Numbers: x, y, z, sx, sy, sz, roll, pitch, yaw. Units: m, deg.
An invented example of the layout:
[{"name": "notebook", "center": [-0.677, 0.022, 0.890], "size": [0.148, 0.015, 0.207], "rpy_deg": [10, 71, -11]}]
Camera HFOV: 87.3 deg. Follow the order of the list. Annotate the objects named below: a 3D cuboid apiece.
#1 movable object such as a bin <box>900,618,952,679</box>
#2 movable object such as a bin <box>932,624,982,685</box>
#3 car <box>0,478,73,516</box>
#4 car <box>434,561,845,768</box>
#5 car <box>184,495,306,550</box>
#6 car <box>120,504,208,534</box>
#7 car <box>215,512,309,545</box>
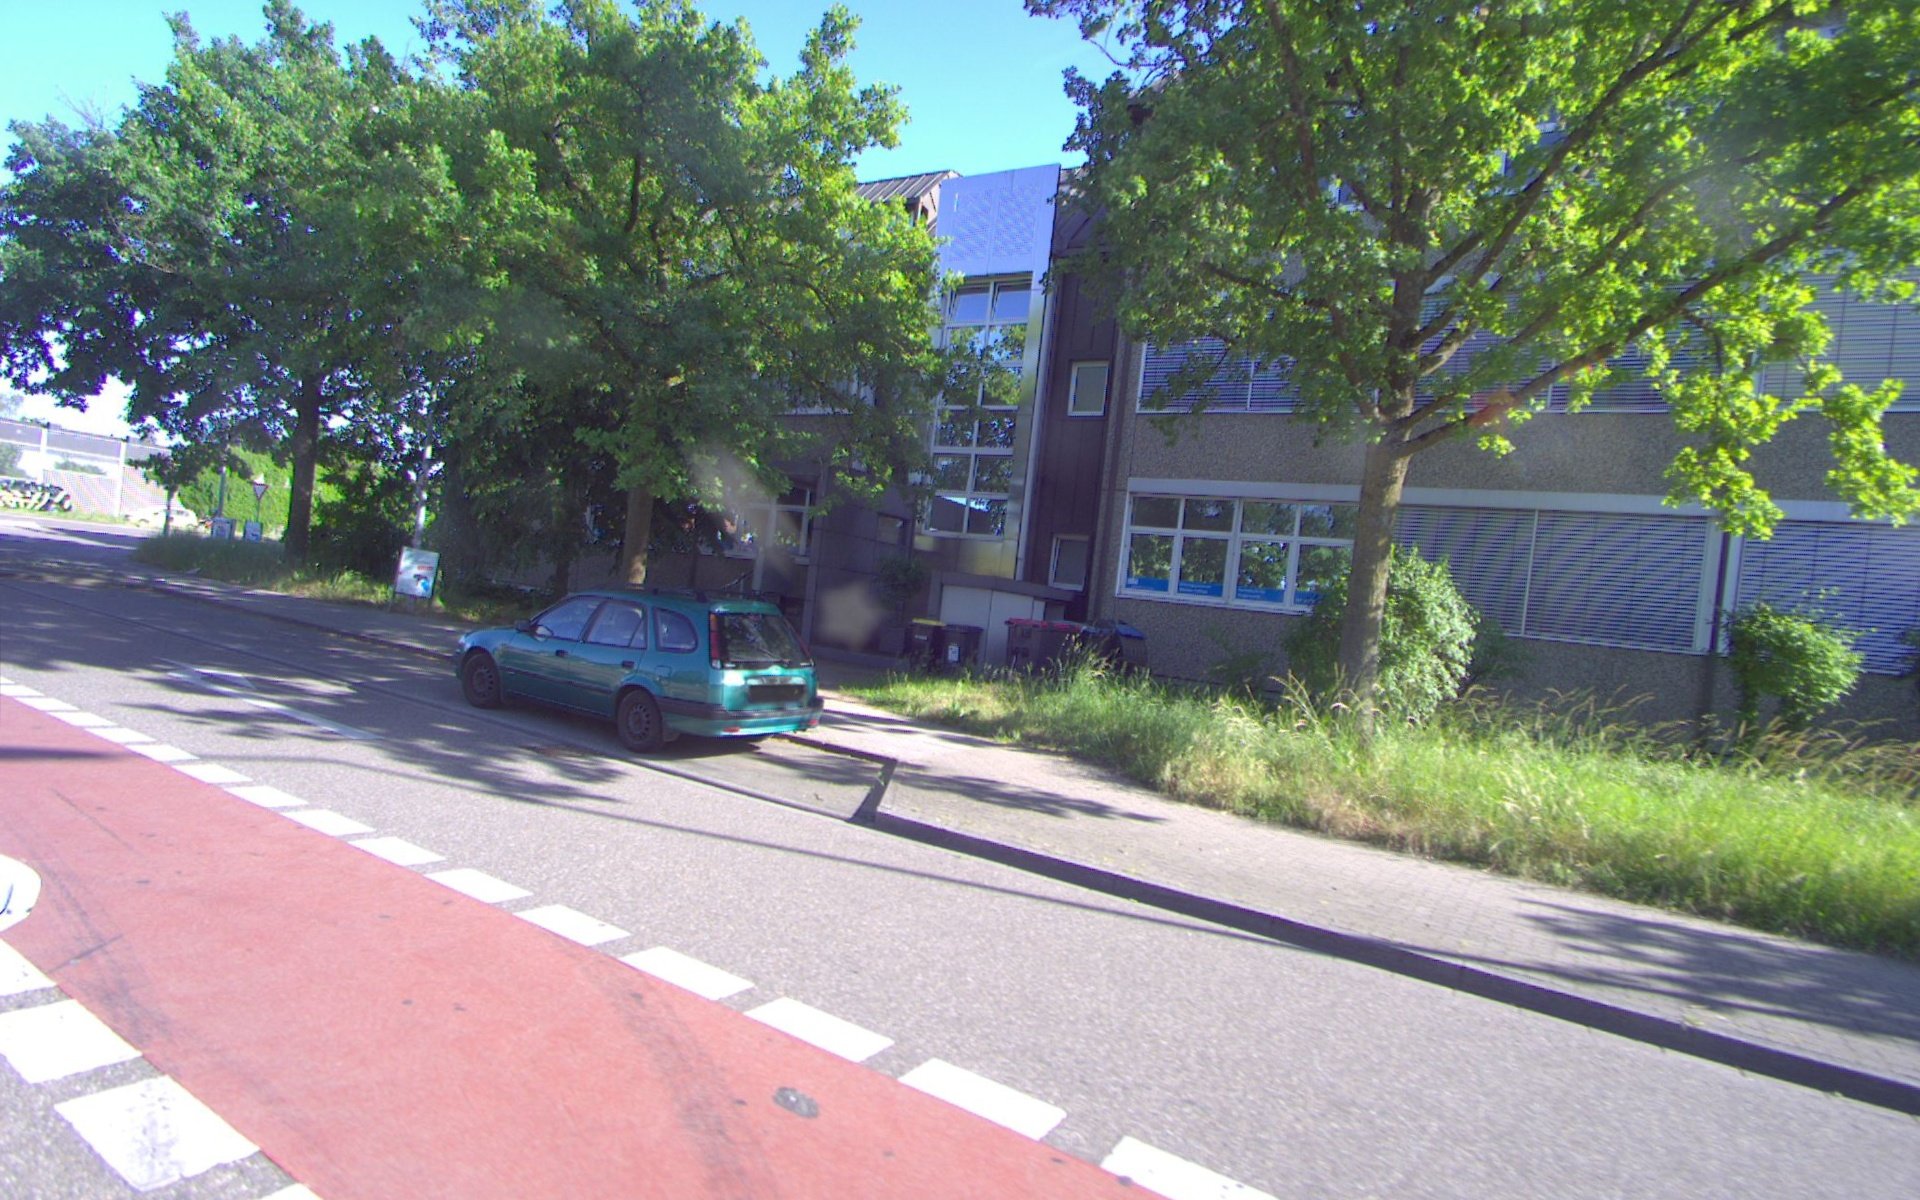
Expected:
[{"name": "movable object such as a bin", "center": [-0.635, 0.910, 18.744], "size": [0.571, 1.045, 0.713], "rpy_deg": [7, 0, 31]}, {"name": "movable object such as a bin", "center": [-0.050, 1.003, 18.391], "size": [0.567, 1.019, 0.629], "rpy_deg": [6, -1, 31]}, {"name": "car", "center": [-43.478, -4.846, 45.888], "size": [1.548, 1.317, 4.170], "rpy_deg": [6, -2, 28]}, {"name": "car", "center": [-3.327, 0.535, 10.148], "size": [4.135, 1.447, 1.593], "rpy_deg": [6, 1, 33]}, {"name": "car", "center": [-24.804, -2.654, 35.026], "size": [1.433, 1.311, 3.412], "rpy_deg": [7, -2, 7]}, {"name": "car", "center": [-47.693, -4.819, 60.323], "size": [1.548, 1.150, 3.764], "rpy_deg": [7, -1, 28]}, {"name": "car", "center": [-41.605, -4.237, 60.066], "size": [1.547, 1.318, 4.298], "rpy_deg": [7, -1, 28]}]
